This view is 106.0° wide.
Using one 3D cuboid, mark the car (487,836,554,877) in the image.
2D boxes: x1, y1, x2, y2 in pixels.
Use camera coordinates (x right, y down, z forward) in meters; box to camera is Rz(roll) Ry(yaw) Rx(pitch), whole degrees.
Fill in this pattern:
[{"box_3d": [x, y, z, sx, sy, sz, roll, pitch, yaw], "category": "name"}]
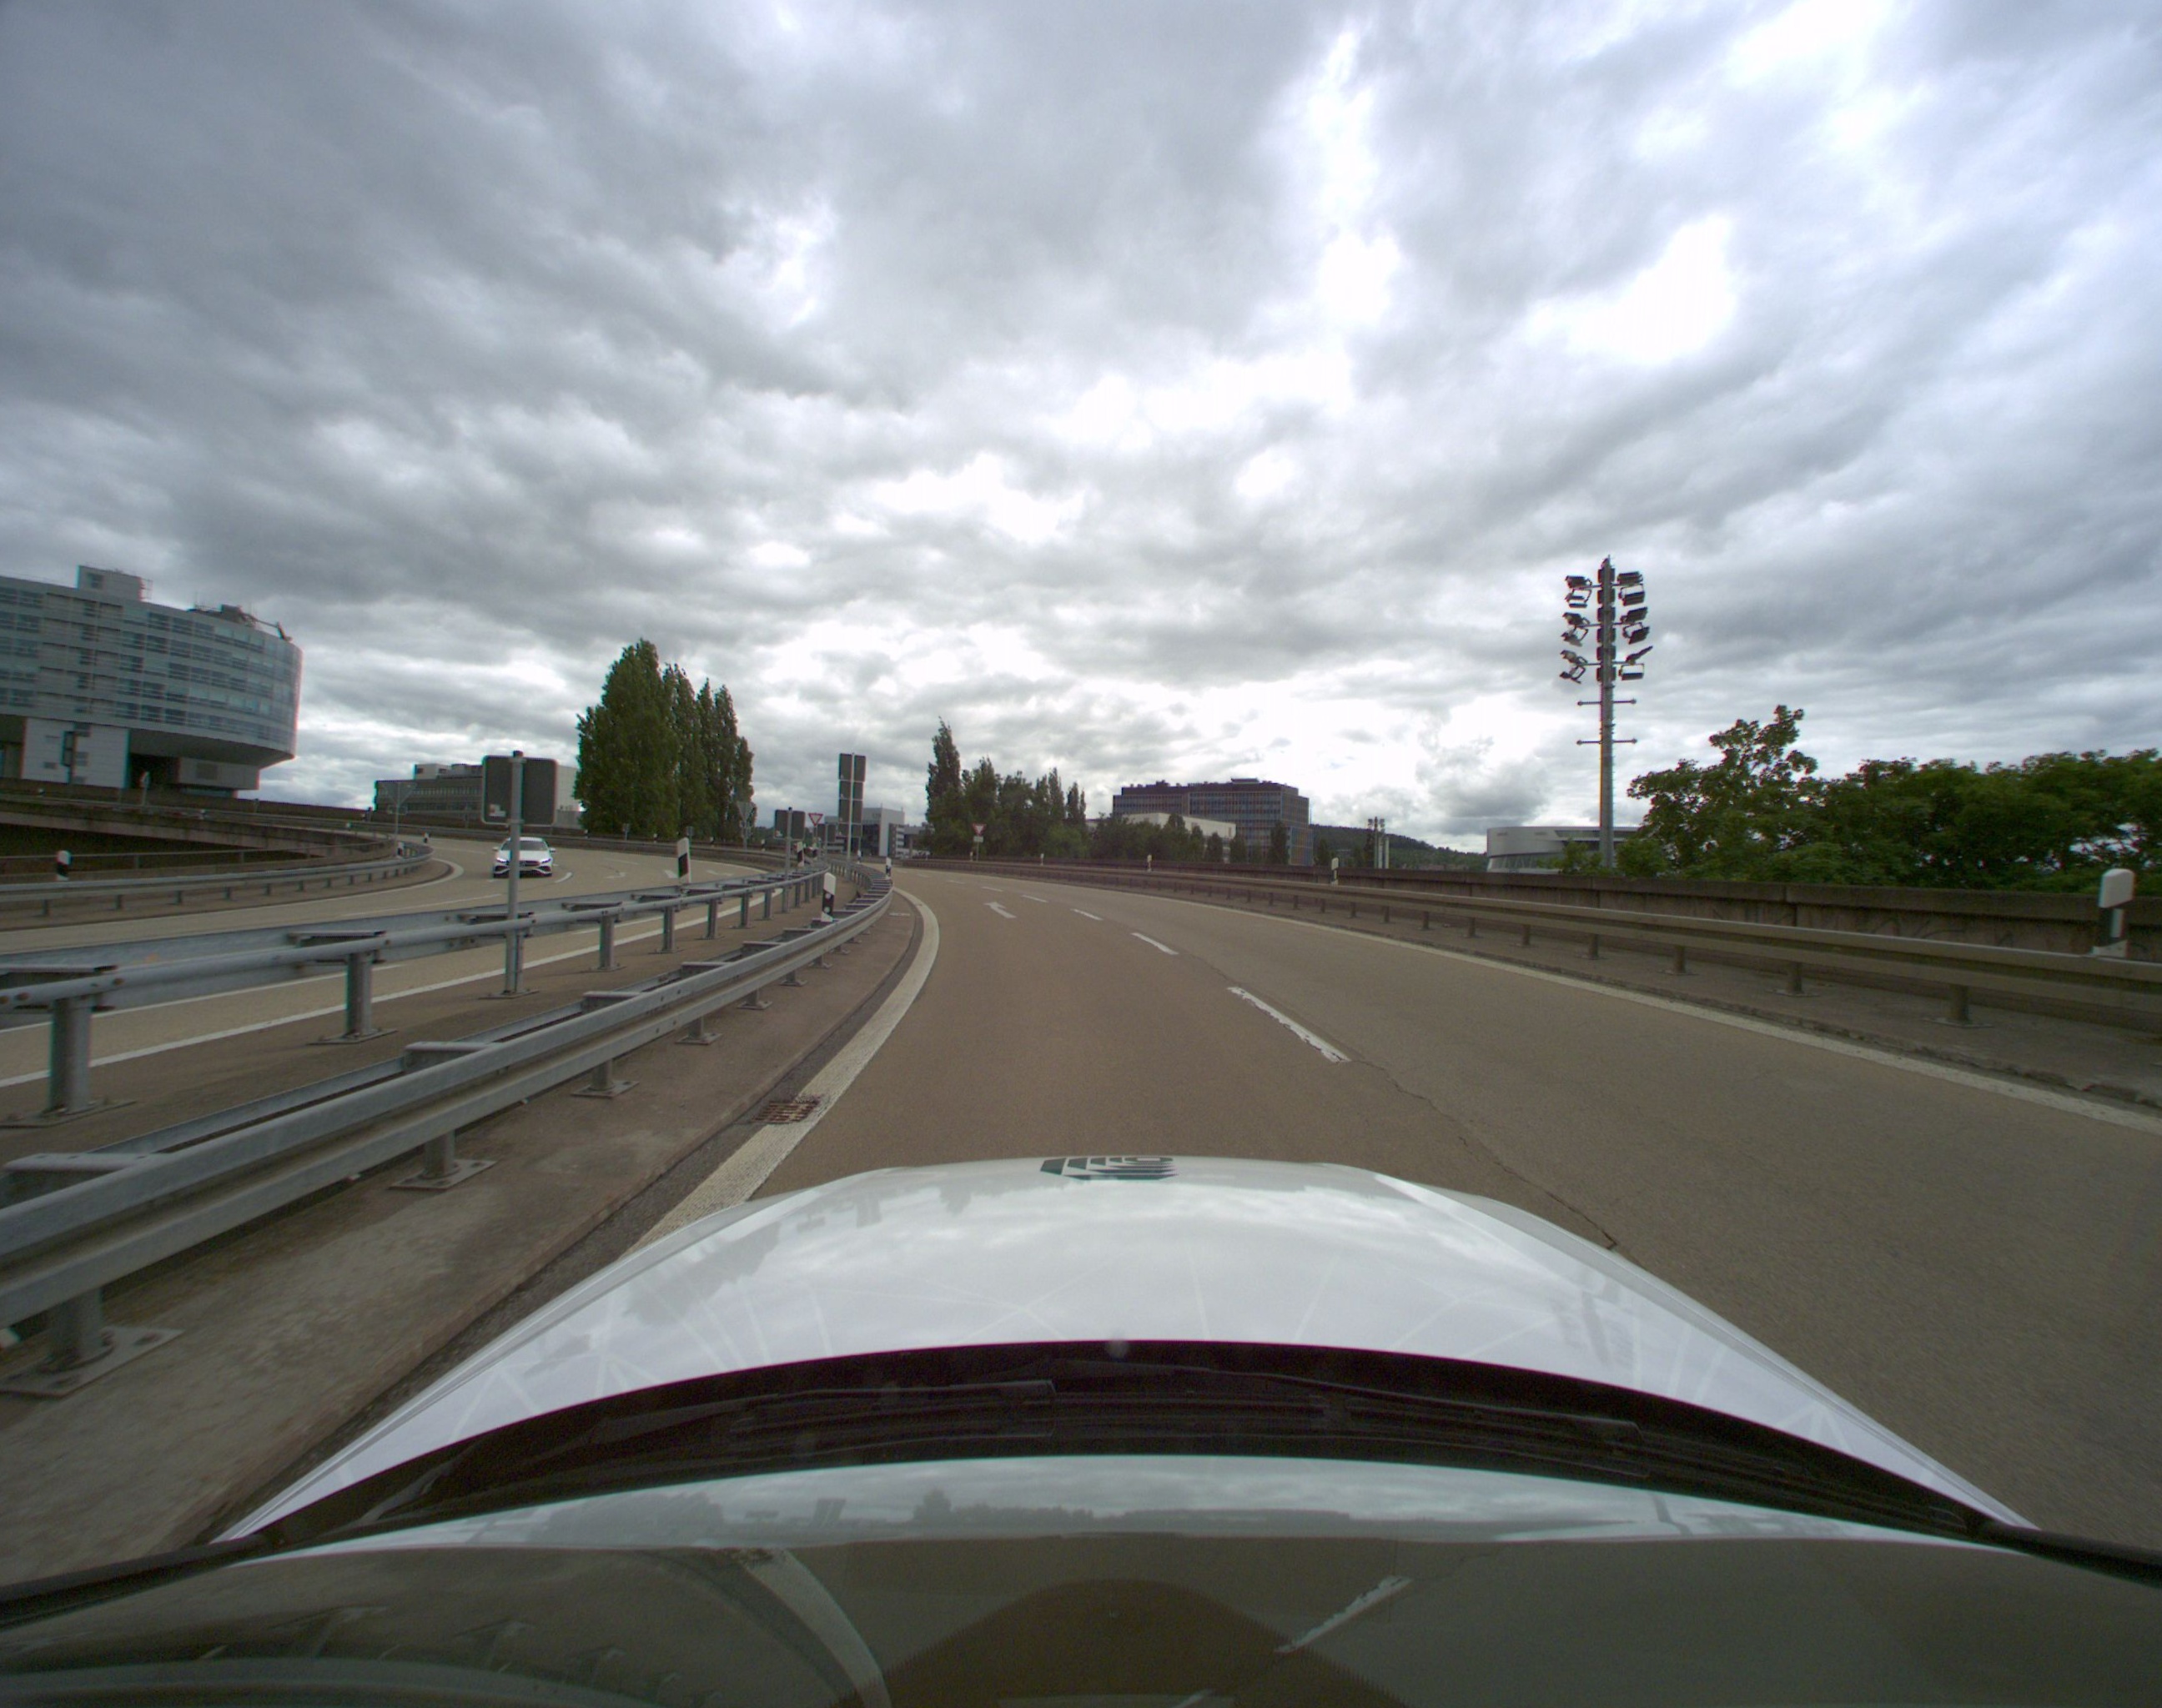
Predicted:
[{"box_3d": [-21.399, 0.045, 31.237, 1.924, 1.414, 4.321, -2, 2, -32], "category": "car"}]
